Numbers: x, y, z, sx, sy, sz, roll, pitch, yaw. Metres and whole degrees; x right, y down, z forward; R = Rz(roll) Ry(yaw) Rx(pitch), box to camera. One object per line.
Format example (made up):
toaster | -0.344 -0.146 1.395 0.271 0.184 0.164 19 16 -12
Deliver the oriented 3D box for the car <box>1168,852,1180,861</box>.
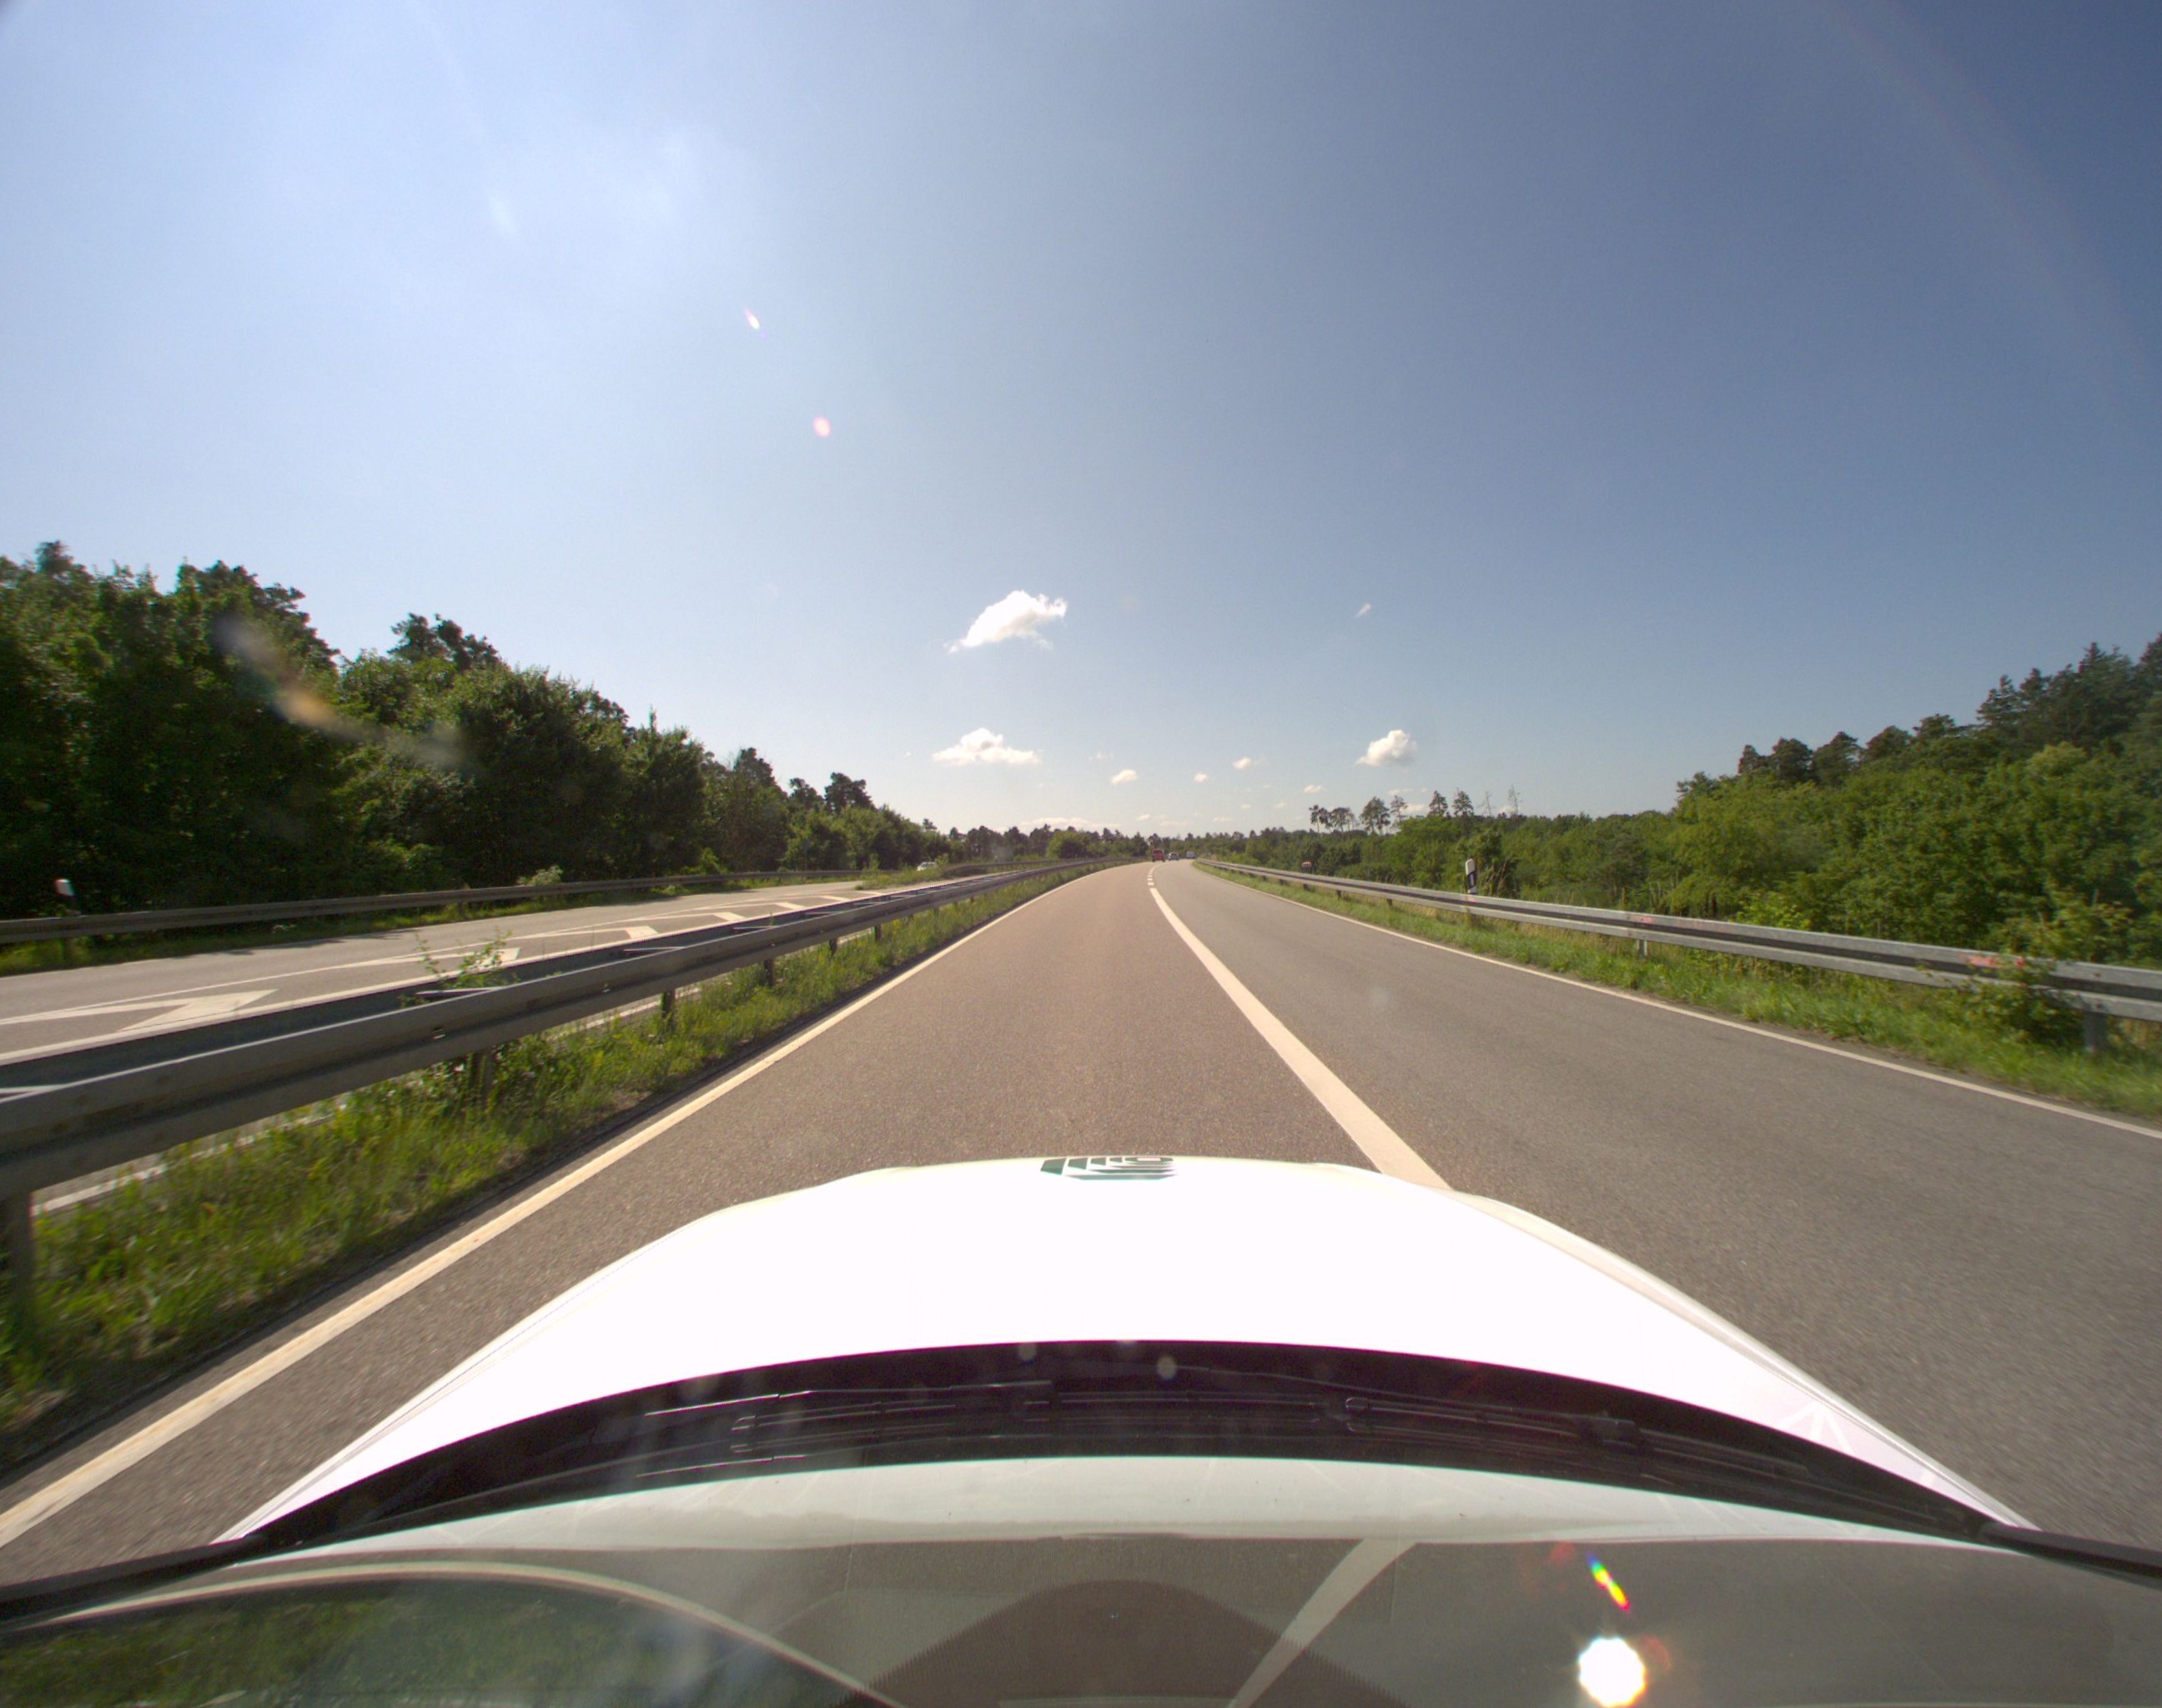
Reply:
car | 17.142 0.494 149.484 1.995 1.494 4.250 -1 -1 10

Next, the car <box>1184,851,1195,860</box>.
car | 26.770 0.403 200.800 2.171 1.955 5.820 -1 -1 10

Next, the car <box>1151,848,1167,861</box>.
car | 12.248 0.059 127.593 2.065 1.993 5.125 -1 -1 9
